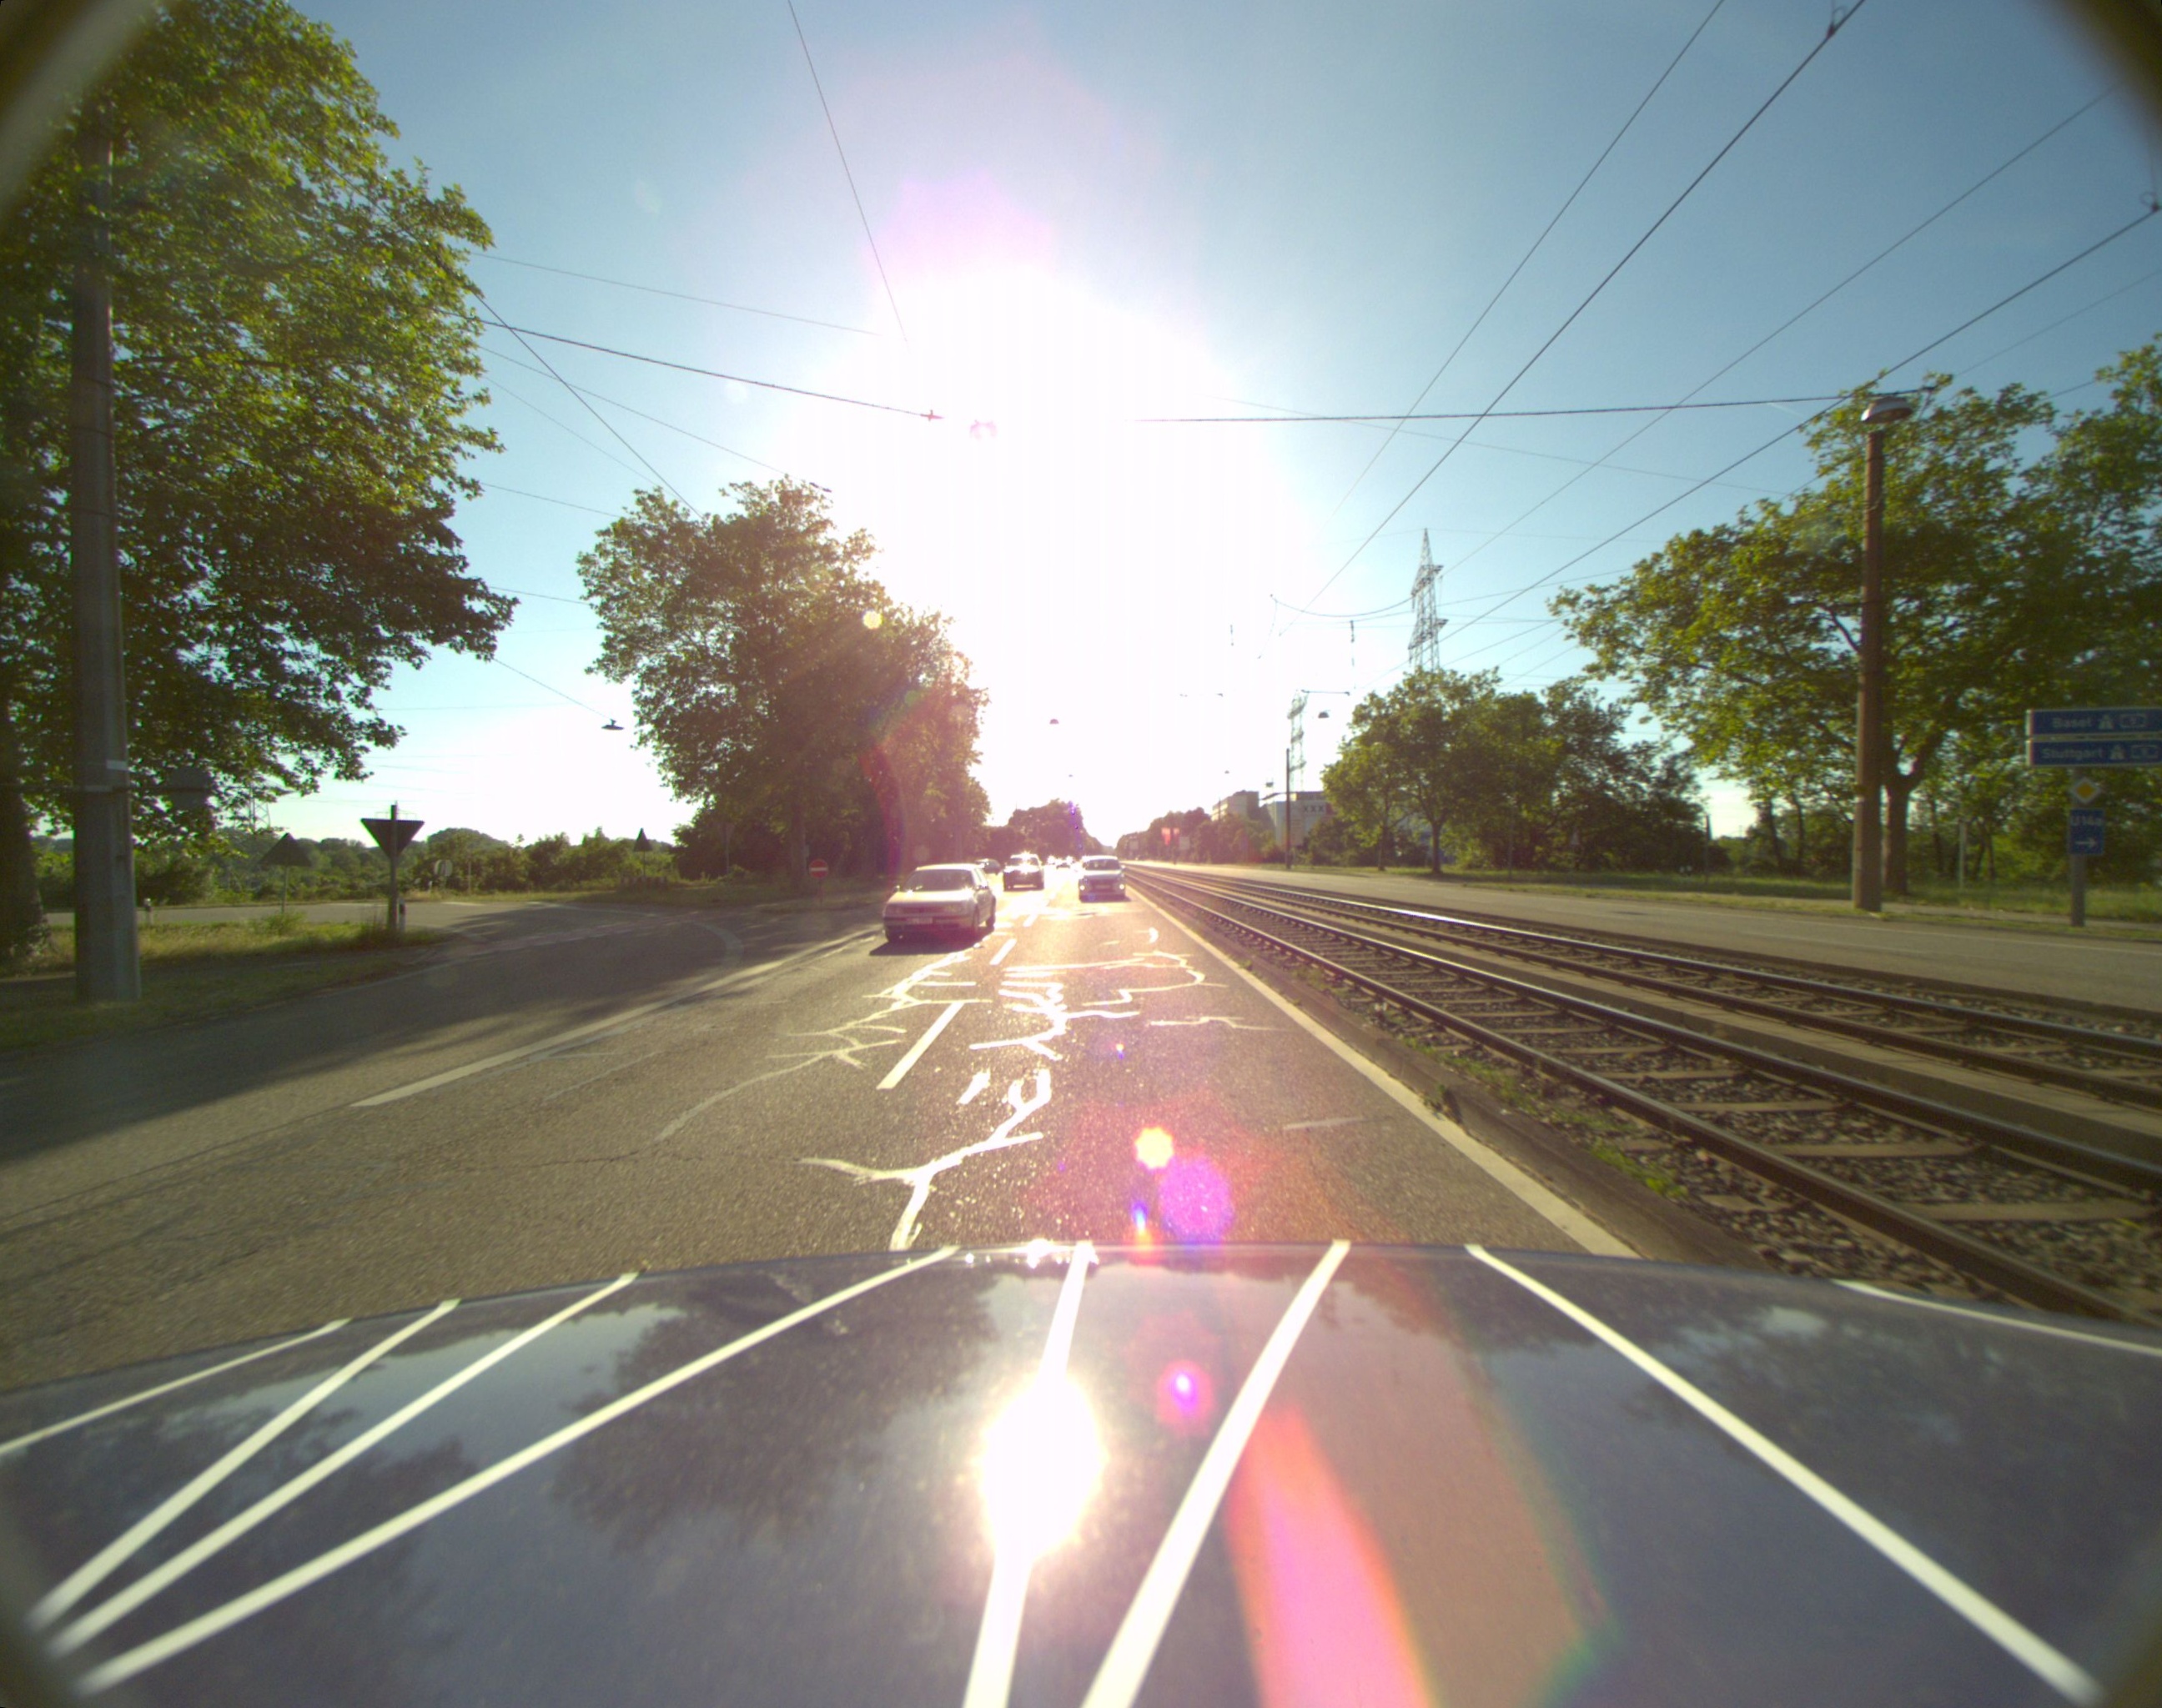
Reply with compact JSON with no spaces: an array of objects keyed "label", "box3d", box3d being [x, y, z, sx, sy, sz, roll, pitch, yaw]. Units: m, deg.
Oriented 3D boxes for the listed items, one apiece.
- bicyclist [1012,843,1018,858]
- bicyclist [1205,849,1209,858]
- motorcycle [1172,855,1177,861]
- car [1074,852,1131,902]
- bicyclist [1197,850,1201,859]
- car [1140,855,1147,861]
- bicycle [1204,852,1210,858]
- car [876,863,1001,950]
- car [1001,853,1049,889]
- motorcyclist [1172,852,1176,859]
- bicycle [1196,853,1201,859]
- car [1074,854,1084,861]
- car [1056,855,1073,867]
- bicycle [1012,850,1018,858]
[{"label":"bicyclist","box3d":[-8.830,-0.420,101.562,0.528,2.005,0.729,-3,1,2]},{"label":"bicyclist","box3d":[22.301,-0.044,134.446,0.591,1.519,0.906,-1,1,0]},{"label":"motorcycle","box3d":[15.860,0.651,129.117,0.537,1.084,1.902,-3,1,1]},{"label":"car","box3d":[0.808,0.762,27.688,1.881,1.591,4.417,-1,1,2]},{"label":"bicyclist","box3d":[20.813,0.065,134.353,0.591,1.601,0.967,-1,1,0]},{"label":"car","box3d":[19.687,1.179,238.815,1.998,1.911,4.861,0,-1,2]},{"label":"bicycle","box3d":[22.307,0.242,134.543,0.591,1.016,2.185,-1,1,0]},{"label":"car","box3d":[-2.781,0.977,15.677,1.695,1.437,4.001,-1,1,2]},{"label":"car","box3d":[-2.735,0.791,37.934,1.881,1.591,4.417,-1,1,2]},{"label":"motorcyclist","box3d":[15.842,0.262,129.073,0.537,1.263,0.805,-3,1,0]},{"label":"bicycle","box3d":[20.828,0.365,134.393,0.591,1.016,2.185,-1,1,0]},{"label":"car","box3d":[-0.404,0.723,157.846,1.880,1.449,4.417,-1,1,4]},{"label":"car","box3d":[-2.032,0.861,94.676,1.881,1.449,4.417,-1,1,2]},{"label":"bicycle","box3d":[-8.823,0.057,101.307,0.528,1.054,1.972,-3,0,2]}]
